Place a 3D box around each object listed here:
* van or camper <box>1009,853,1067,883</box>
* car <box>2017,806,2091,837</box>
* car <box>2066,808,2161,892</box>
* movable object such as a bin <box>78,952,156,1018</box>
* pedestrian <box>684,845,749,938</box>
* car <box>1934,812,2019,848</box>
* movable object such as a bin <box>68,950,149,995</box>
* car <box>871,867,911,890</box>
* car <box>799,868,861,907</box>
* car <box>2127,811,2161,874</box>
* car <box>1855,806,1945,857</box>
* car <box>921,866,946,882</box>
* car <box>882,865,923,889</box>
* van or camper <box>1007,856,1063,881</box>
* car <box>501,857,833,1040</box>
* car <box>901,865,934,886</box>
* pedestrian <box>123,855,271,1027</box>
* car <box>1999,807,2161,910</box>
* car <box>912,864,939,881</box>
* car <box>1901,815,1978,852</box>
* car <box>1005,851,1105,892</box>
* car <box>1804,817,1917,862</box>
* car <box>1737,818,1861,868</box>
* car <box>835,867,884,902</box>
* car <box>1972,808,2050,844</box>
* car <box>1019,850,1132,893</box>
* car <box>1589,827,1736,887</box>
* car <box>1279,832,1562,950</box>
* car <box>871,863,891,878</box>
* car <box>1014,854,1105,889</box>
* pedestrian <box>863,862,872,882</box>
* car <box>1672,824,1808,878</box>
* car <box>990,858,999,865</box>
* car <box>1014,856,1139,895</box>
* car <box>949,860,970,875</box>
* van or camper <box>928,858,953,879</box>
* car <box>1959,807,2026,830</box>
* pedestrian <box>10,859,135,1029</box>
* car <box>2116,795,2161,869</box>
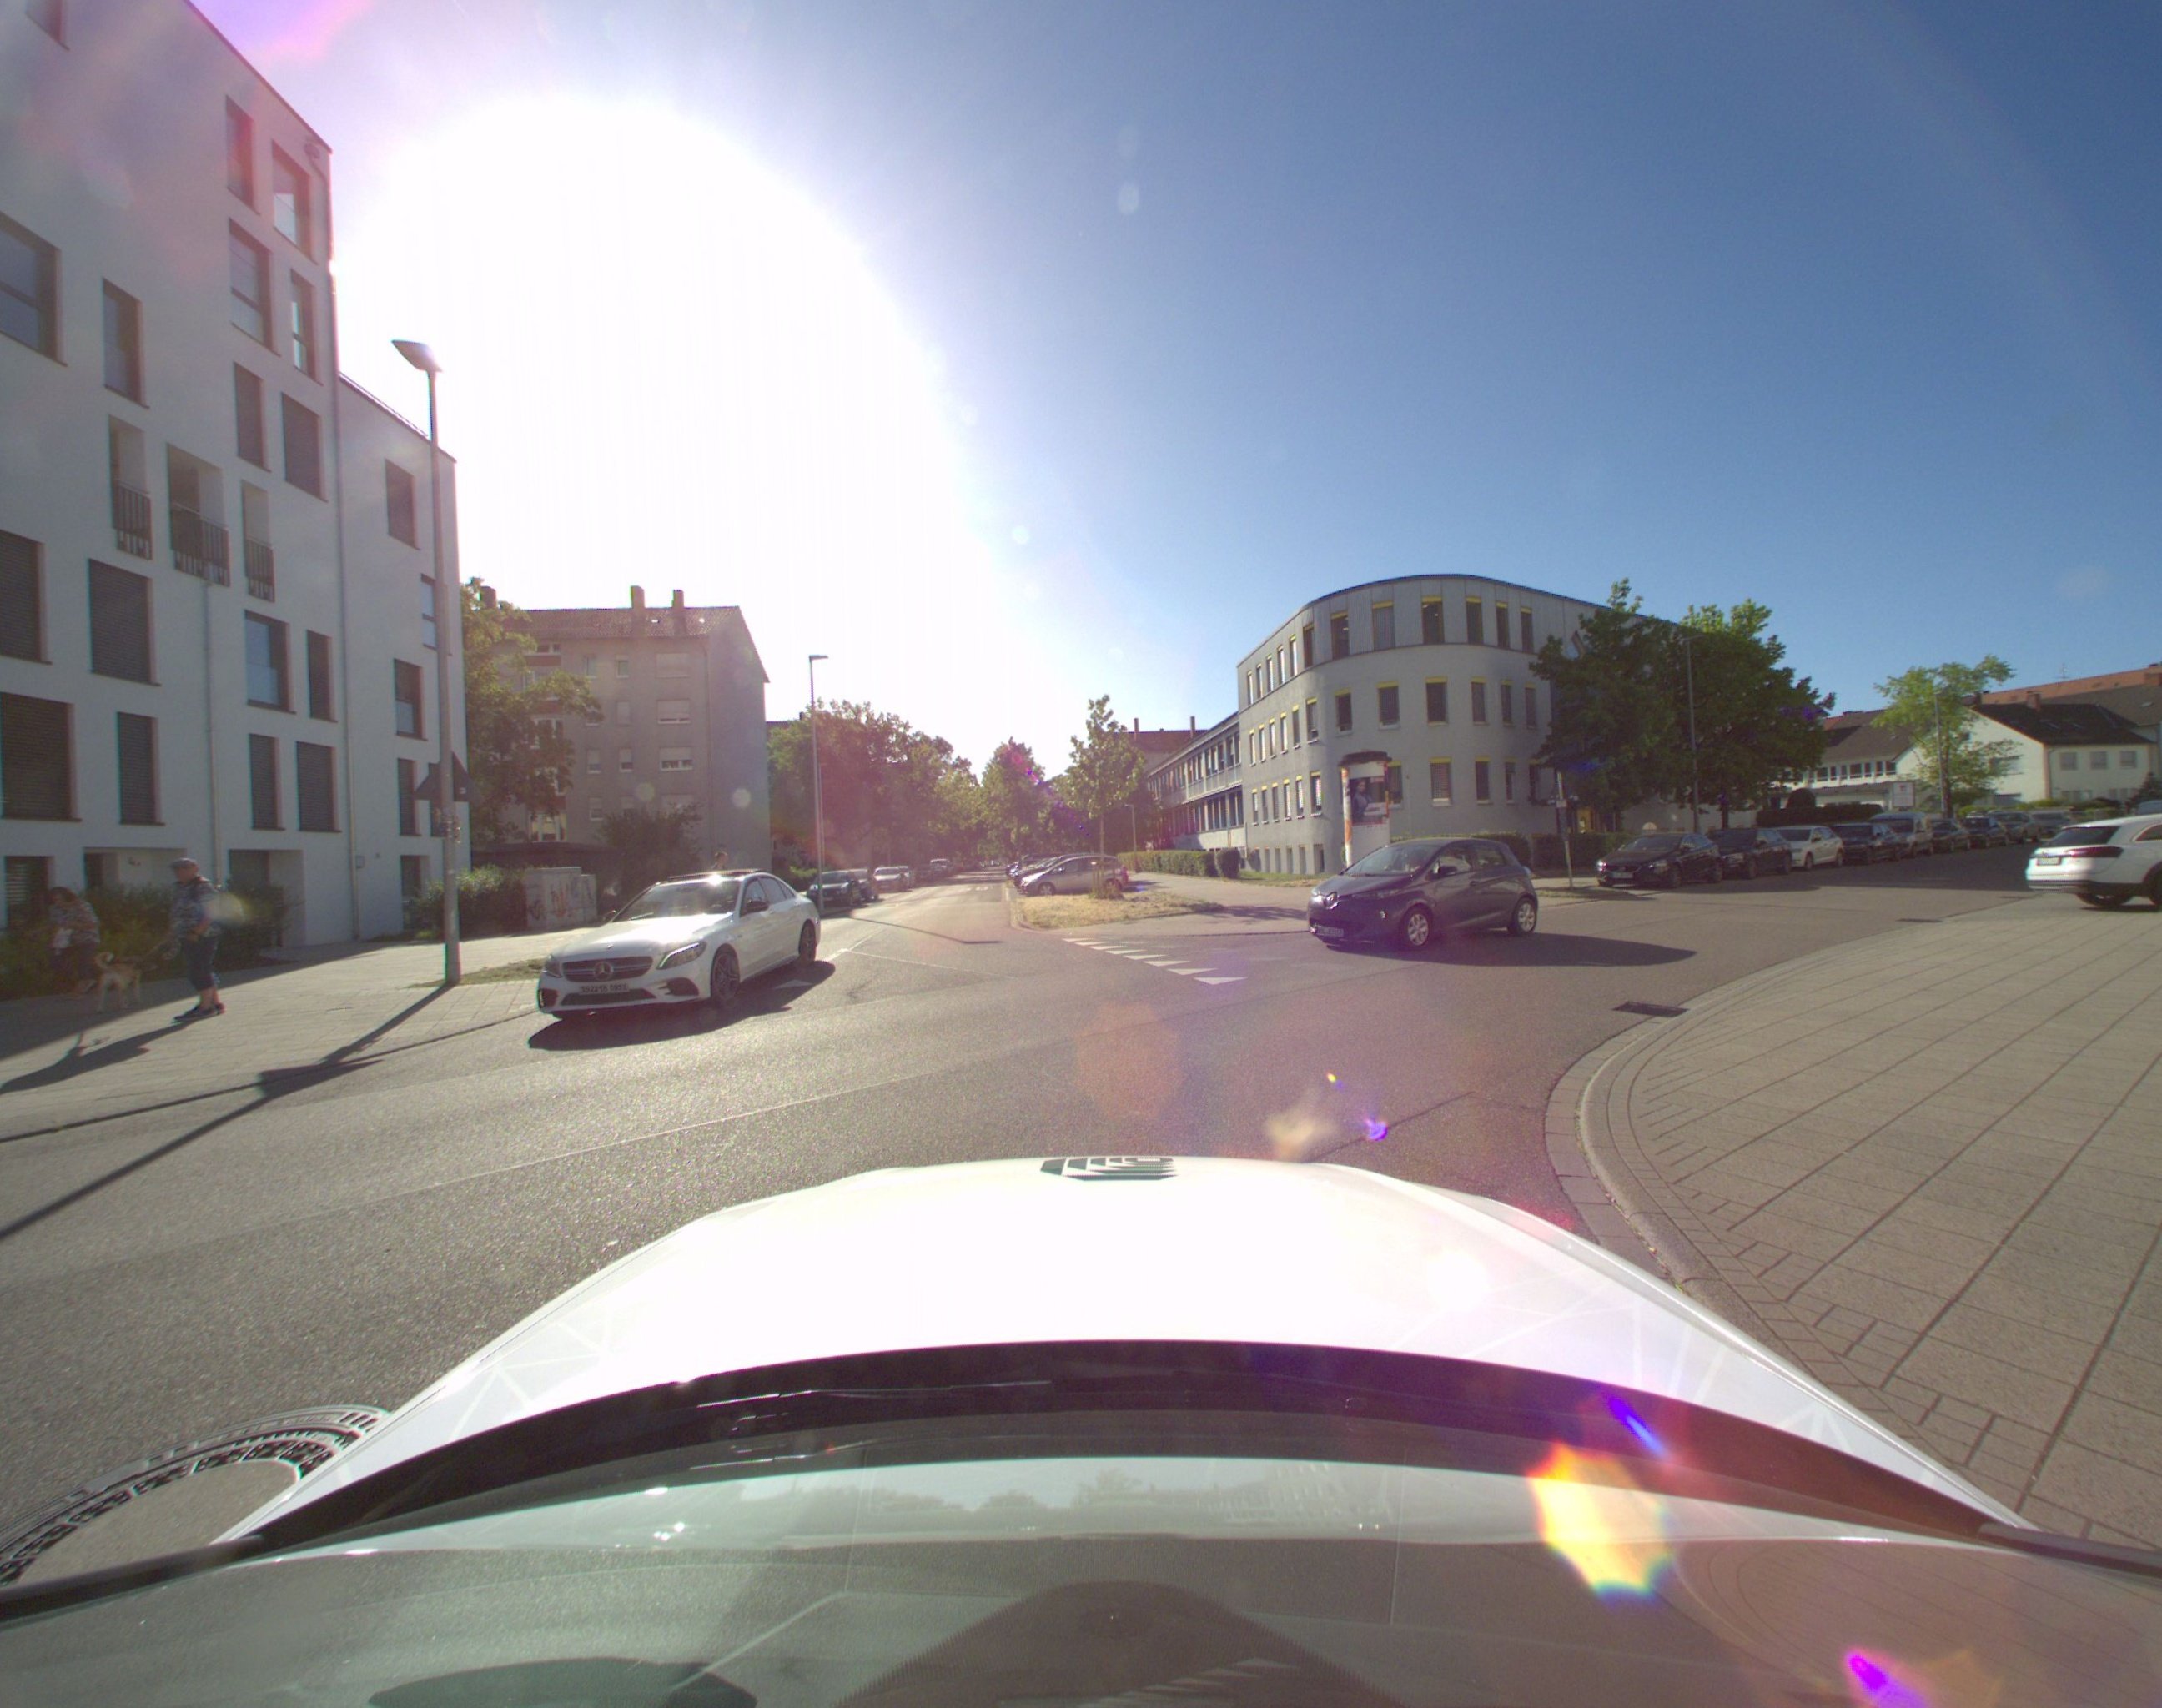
[{"bbox_3d":[-3.046,1.003,56.847,3.982,2.014,1.996,0,-1,-6],"label":"van or camper"},{"bbox_3d":[54.984,-1.827,45.994,4.935,1.534,1.980,-3,0,-32],"label":"car"},{"bbox_3d":[21.254,-0.120,14.624,4.120,1.497,1.833,-2,-2,25],"label":"car"},{"bbox_3d":[-11.713,1.579,9.917,0.273,0.680,0.842,-2,-1,-25],"label":"movable object such as a bin"},{"bbox_3d":[-7.074,0.711,15.857,0.870,1.714,0.976,-3,0,-9],"label":"pedestrian"},{"bbox_3d":[41.534,-1.140,37.765,4.453,1.465,1.715,-3,0,-30],"label":"car"},{"bbox_3d":[-13.978,1.693,11.713,0.269,0.541,0.689,-2,-1,15],"label":"movable object such as a bin"},{"bbox_3d":[-10.844,1.378,46.742,1.626,1.234,4.185,0,-1,-5],"label":"car"},{"bbox_3d":[-9.753,1.266,31.902,1.665,1.420,3.990,0,-1,-7],"label":"car"},{"bbox_3d":[27.264,-0.414,18.464,3.946,1.490,1.626,-5,-4,27],"label":"car"},{"bbox_3d":[32.743,-0.902,32.520,4.358,1.838,1.675,-3,0,-34],"label":"car"},{"bbox_3d":[-13.762,1.844,76.250,1.839,1.398,3.993,-2,-1,-4],"label":"car"},{"bbox_3d":[-11.441,1.437,52.579,1.990,1.398,3.993,-2,-1,-4],"label":"car"},{"bbox_3d":[-3.405,1.053,59.686,3.982,1.772,1.996,0,-1,-6],"label":"van or camper"},{"bbox_3d":[-4.761,0.935,10.326,1.881,1.504,4.635,-4,2,-2],"label":"car"},{"bbox_3d":[-11.987,1.560,59.876,1.839,1.398,3.993,-2,-1,-4],"label":"car"},{"bbox_3d":[-10.234,0.962,9.473,0.845,1.885,0.787,0,-1,-16],"label":"pedestrian"},{"bbox_3d":[18.214,-0.084,12.633,4.814,1.464,1.984,-5,-1,24],"label":"car"},{"bbox_3d":[-13.033,1.547,68.447,1.992,1.408,3.897,0,-1,-8],"label":"car"},{"bbox_3d":[36.879,-0.902,34.948,4.016,1.440,1.586,-2,1,-34],"label":"car"},{"bbox_3d":[-1.197,0.764,36.394,4.276,1.765,1.994,0,-1,-8],"label":"car"},{"bbox_3d":[28.451,-0.552,29.691,4.625,1.439,1.721,-2,0,-30],"label":"car"},{"bbox_3d":[24.086,-0.373,27.276,4.642,1.530,1.895,-2,0,-33],"label":"car"},{"bbox_3d":[-9.900,1.314,36.659,1.404,1.376,3.992,-3,0,-5],"label":"car"},{"bbox_3d":[46.285,-1.401,40.529,4.435,1.586,1.709,-3,0,-30],"label":"car"},{"bbox_3d":[-0.243,0.665,31.240,4.087,1.492,1.723,-2,-1,-9],"label":"car"},{"bbox_3d":[15.709,0.043,21.952,4.239,1.410,1.776,-2,0,-33],"label":"car"},{"bbox_3d":[5.183,0.459,12.316,4.151,1.504,1.824,-1,-1,-31],"label":"car"},{"bbox_3d":[-17.880,1.467,72.833,1.271,1.225,2.660,-3,0,-3],"label":"car"},{"bbox_3d":[-1.087,0.839,39.234,4.200,1.596,1.995,0,-1,-7],"label":"car"},{"bbox_3d":[-18.262,1.530,69.590,0.634,1.664,0.697,-3,0,-11],"label":"pedestrian"},{"bbox_3d":[19.948,-0.115,24.625,4.397,1.479,1.895,-2,0,-33],"label":"car"},{"bbox_3d":[-20.763,1.817,196.226,1.991,1.747,3.992,-2,0,-6],"label":"car"},{"bbox_3d":[-0.203,0.863,33.286,4.870,1.274,1.723,-3,-1,-10],"label":"car"},{"bbox_3d":[-16.312,1.852,109.662,1.985,2.014,4.002,-1,-1,3],"label":"car"},{"bbox_3d":[-14.148,1.506,82.366,1.989,2.014,3.996,0,-1,-2],"label":"van or camper"},{"bbox_3d":[67.018,-2.597,59.930,3.175,1.556,1.801,0,-1,-8],"label":"car"},{"bbox_3d":[-13.552,1.155,10.959,0.765,2.120,0.965,-1,1,38],"label":"pedestrian"},{"bbox_3d":[30.063,-0.721,20.479,4.478,1.898,2.059,-4,-3,18],"label":"car"}]
